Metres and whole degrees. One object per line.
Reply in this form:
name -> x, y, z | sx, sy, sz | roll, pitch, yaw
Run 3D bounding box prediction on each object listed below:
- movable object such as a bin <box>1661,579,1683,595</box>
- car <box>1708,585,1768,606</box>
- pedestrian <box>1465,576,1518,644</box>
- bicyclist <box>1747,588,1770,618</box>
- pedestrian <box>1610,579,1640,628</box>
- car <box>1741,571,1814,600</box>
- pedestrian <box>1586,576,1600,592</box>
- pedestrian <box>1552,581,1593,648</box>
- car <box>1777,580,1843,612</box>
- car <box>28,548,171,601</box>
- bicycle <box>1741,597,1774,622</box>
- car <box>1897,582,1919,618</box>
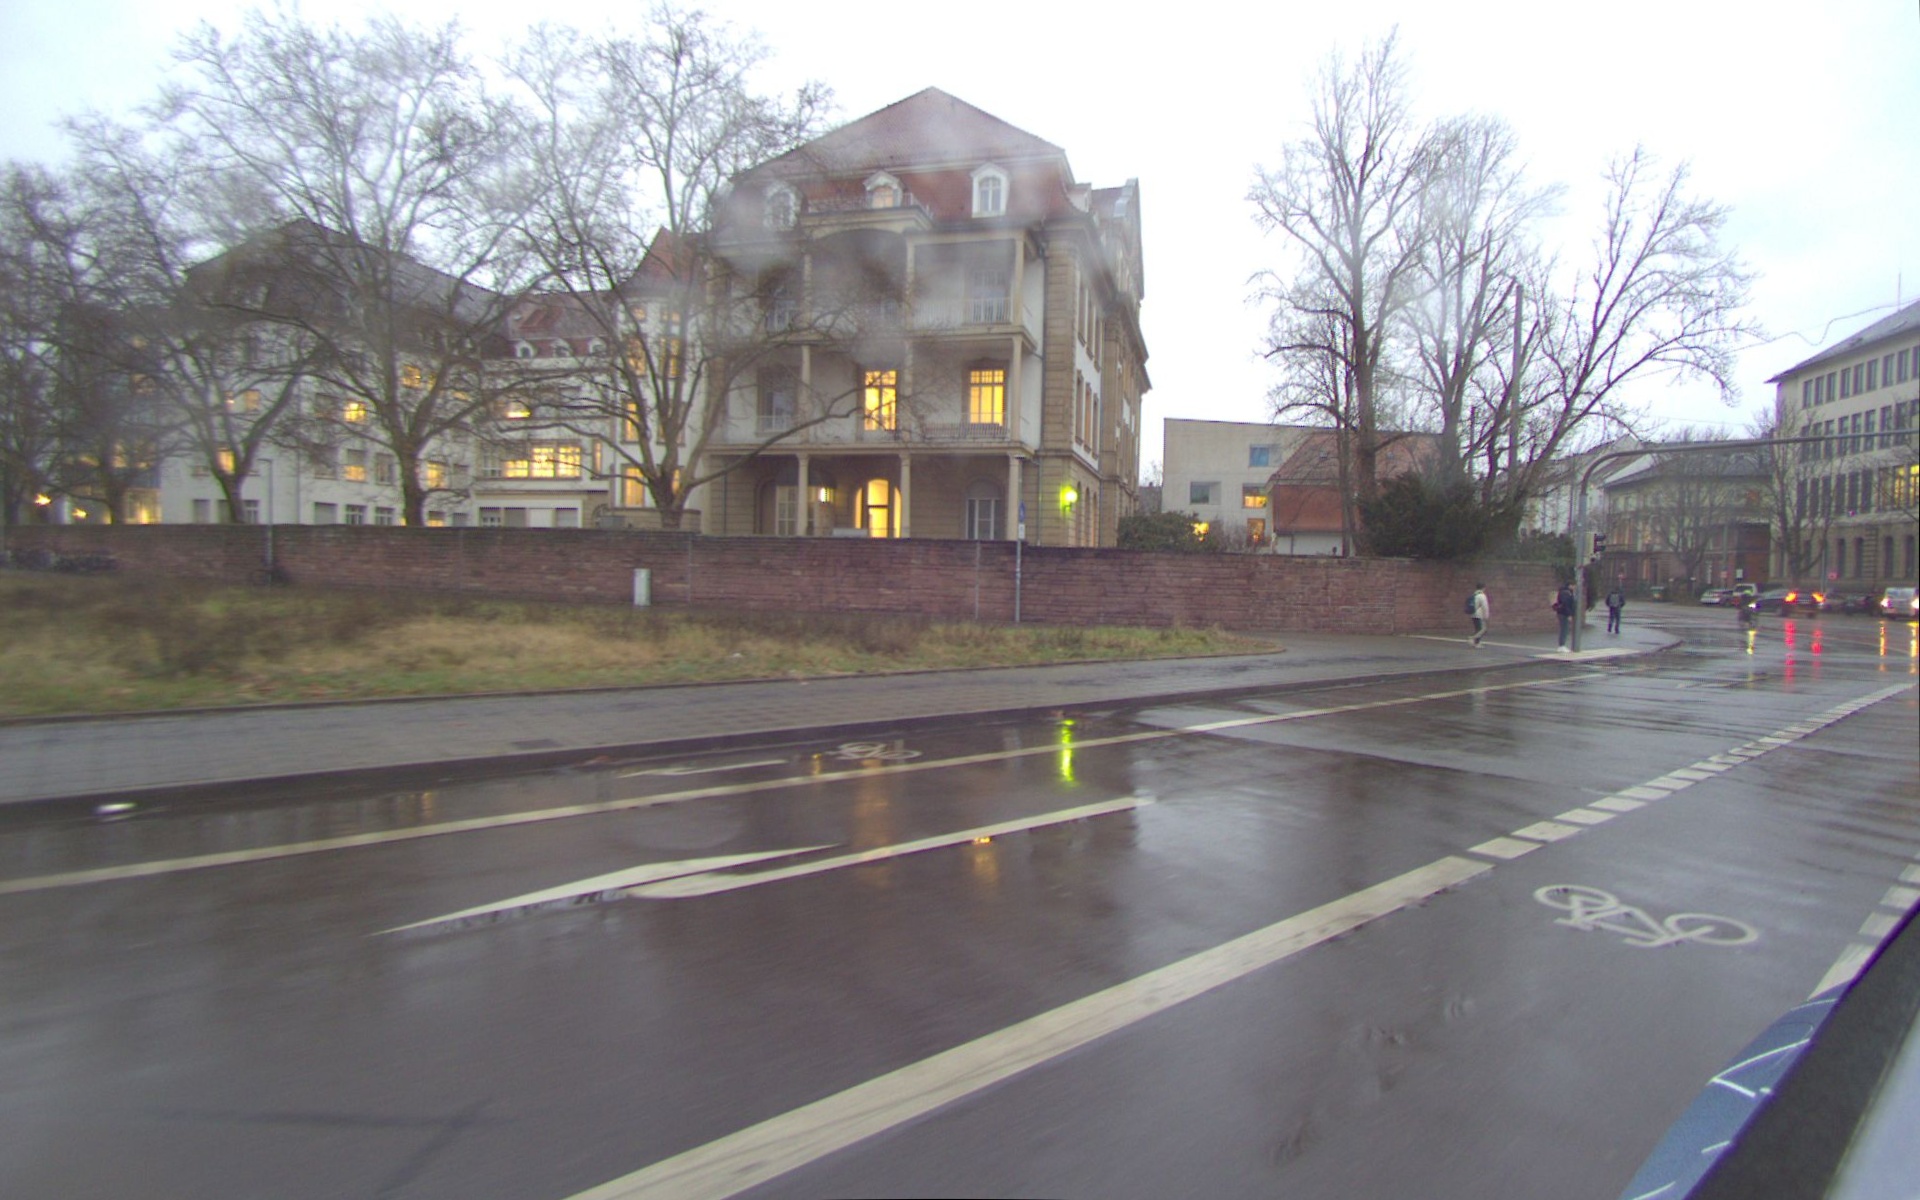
movable object such as a bin -> 66.995, -1.243, 95.247 | 0.966, 1.482, 1.347 | -2, 2, -23
car -> 64.650, -0.395, 84.130 | 4.097, 1.610, 1.779 | -2, 2, -14
pedestrian -> 13.810, 0.252, 26.319 | 0.947, 1.696, 0.777 | 3, 2, 11
bicyclist -> 36.944, 0.115, 46.830 | 0.710, 1.359, 0.714 | 0, 1, 25
pedestrian -> 24.198, 0.105, 36.821 | 0.802, 1.705, 1.143 | 4, 2, 33
car -> 63.194, -1.143, 78.241 | 4.526, 2.079, 1.970 | -1, 2, -12
pedestrian -> 68.385, -1.729, 109.368 | 0.905, 1.724, 0.949 | -1, 1, -8
pedestrian -> 16.034, 0.366, 26.484 | 0.788, 1.696, 0.720 | 4, 3, 36
car -> 50.071, -0.264, 59.709 | 1.742, 1.682, 4.492 | 3, 3, 25
car -> -18.009, -0.546, 21.295 | 1.275, 0.989, 2.688 | 2, 2, -16
bicycle -> 36.939, 0.436, 46.901 | 0.717, 1.104, 2.265 | 1, 0, 25
car -> 57.942, -0.035, 59.841 | 4.704, 2.058, 1.916 | -2, 2, -23
